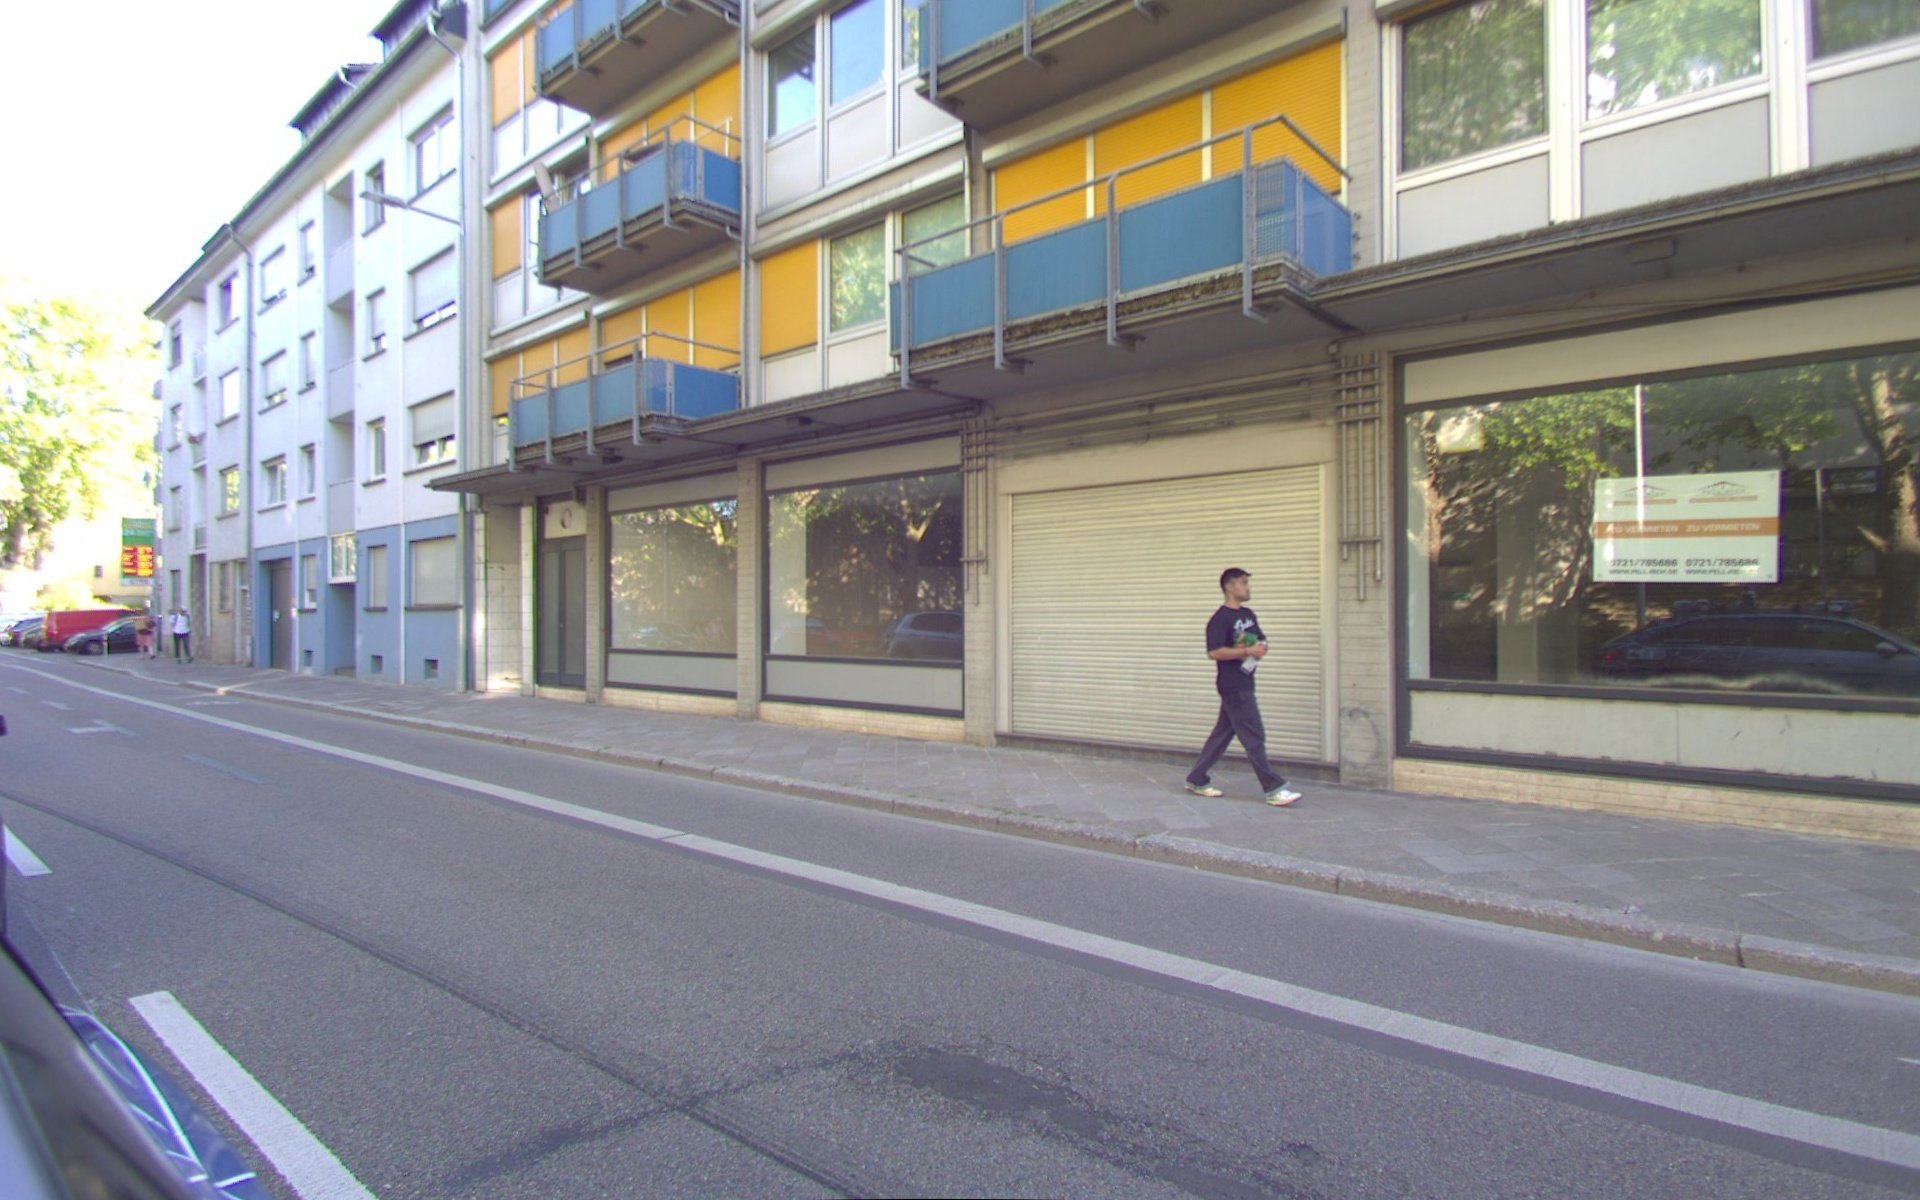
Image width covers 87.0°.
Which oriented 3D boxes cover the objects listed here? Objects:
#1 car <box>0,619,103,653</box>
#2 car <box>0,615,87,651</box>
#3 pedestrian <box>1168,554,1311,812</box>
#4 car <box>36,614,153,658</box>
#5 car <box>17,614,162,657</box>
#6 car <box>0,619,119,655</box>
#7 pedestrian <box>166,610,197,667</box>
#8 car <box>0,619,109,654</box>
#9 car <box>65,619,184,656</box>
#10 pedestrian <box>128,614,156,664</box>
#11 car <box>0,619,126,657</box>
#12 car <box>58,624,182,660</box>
[{"bbox_3d":[-55.958,2.157,61.989,2.314,1.952,4.978,-1,-1,41],"label":"car"},{"bbox_3d":[-59.332,2.096,64.715,2.186,2.164,5.077,-1,-1,41],"label":"car"},{"bbox_3d":[2.078,0.575,7.519,0.793,1.785,0.655,-1,-1,41],"label":"pedestrian"},{"bbox_3d":[-40.578,1.633,47.518,1.866,1.952,3.946,-1,-1,41],"label":"car"},{"bbox_3d":[-42.679,1.700,49.716,2.256,1.995,5.156,-1,-1,41],"label":"car"},{"bbox_3d":[-52.224,2.108,58.721,2.159,1.952,4.990,-1,-1,41],"label":"car"},{"bbox_3d":[-24.195,1.183,31.455,0.756,1.760,0.600,-1,0,41],"label":"pedestrian"},{"bbox_3d":[-54.110,2.130,60.358,2.082,1.952,4.928,-1,-1,41],"label":"car"},{"bbox_3d":[-37.866,1.678,45.944,1.742,1.572,3.946,-1,-1,41],"label":"car"},{"bbox_3d":[-27.667,1.294,34.211,0.842,1.654,0.596,-1,0,41],"label":"pedestrian"},{"bbox_3d":[-50.286,2.085,56.832,2.186,1.952,5.077,-1,-1,41],"label":"car"},{"bbox_3d":[-36.541,1.787,44.078,1.742,1.431,3.946,-1,-1,41],"label":"car"}]
